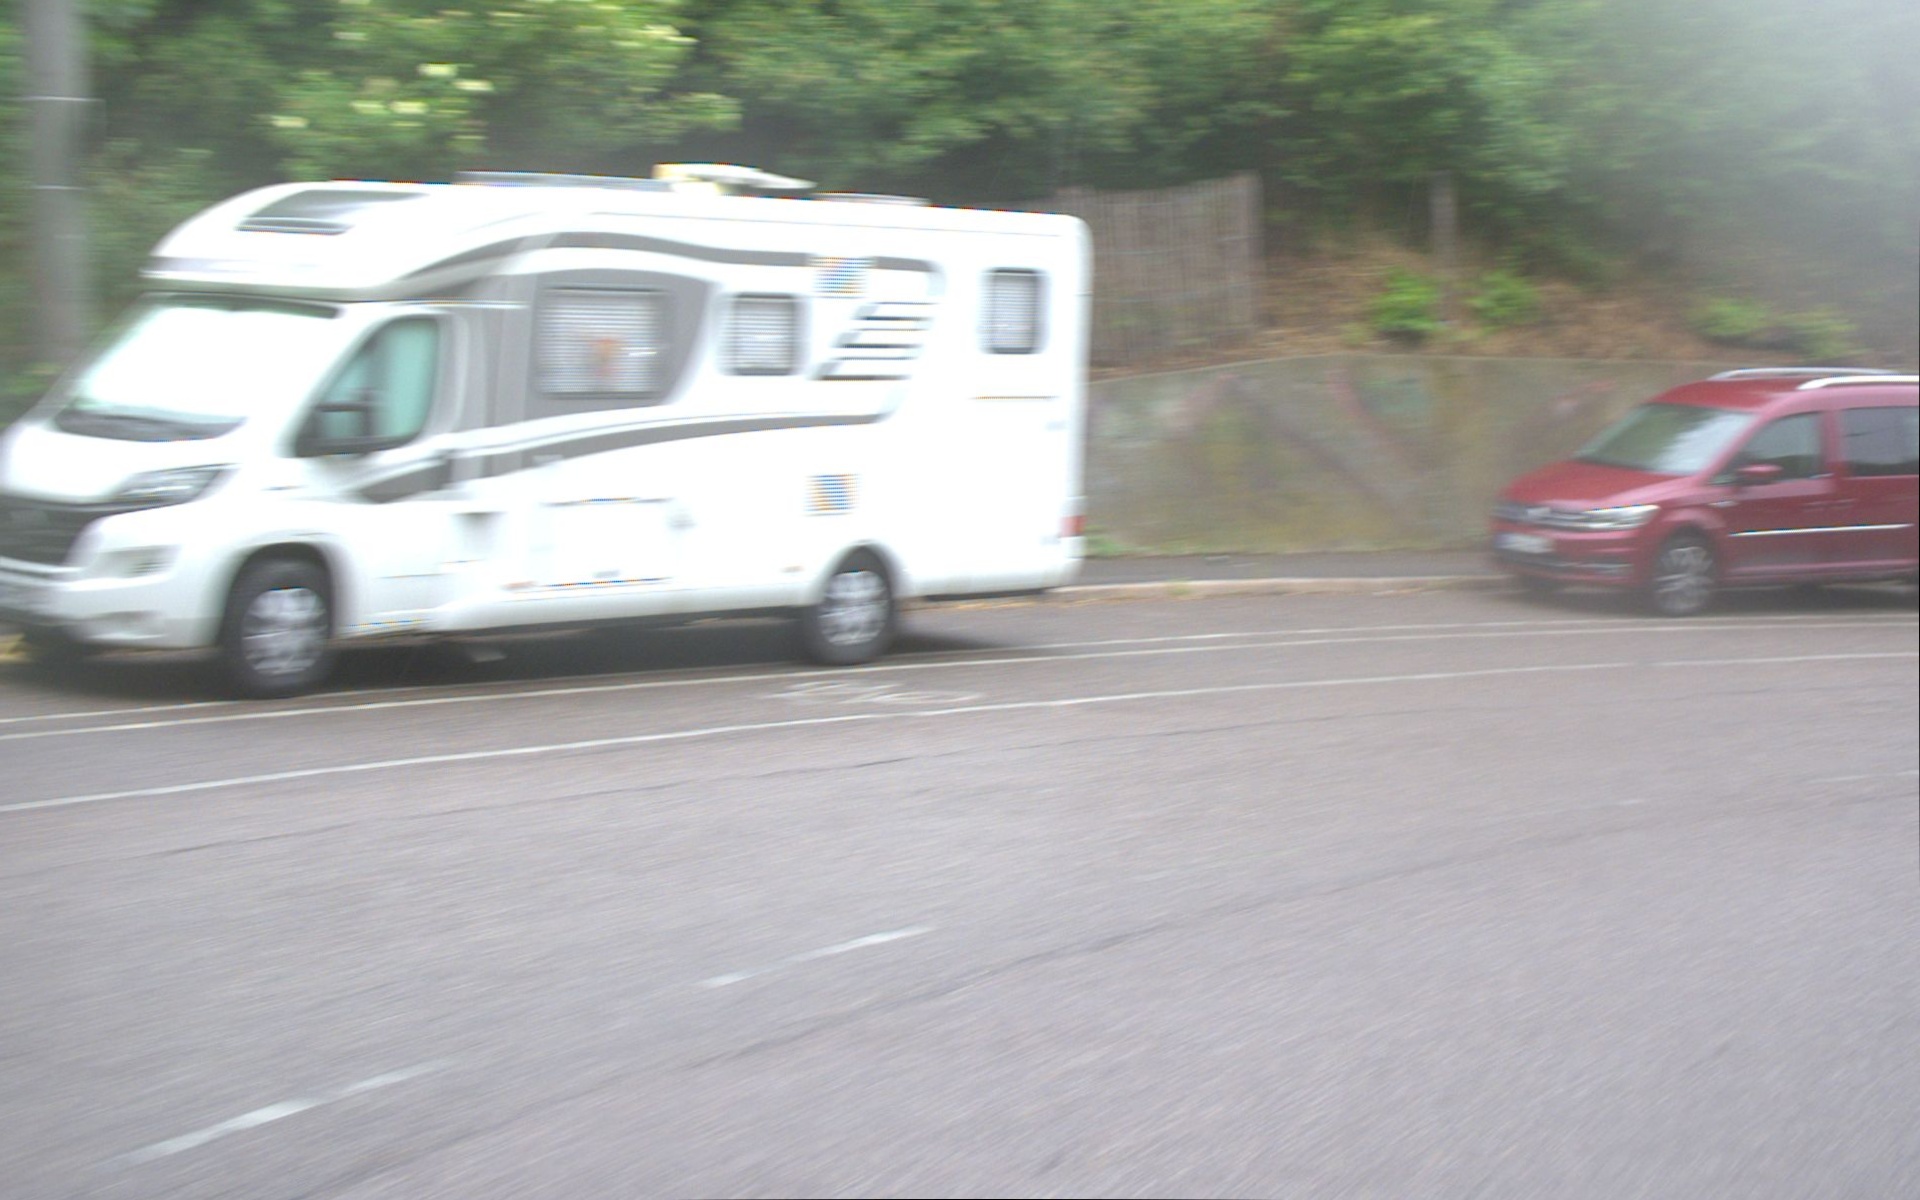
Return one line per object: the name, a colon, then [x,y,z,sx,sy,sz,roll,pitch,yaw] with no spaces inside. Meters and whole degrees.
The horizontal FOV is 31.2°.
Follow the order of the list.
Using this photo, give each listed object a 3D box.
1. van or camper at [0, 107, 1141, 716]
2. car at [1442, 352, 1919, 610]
van or camper: [-2.222,-1.132,20.111,2.200,2.922,7.644,6,6,41]
car: [6.434,-0.962,27.798,4.908,1.882,1.794,0,5,-31]
